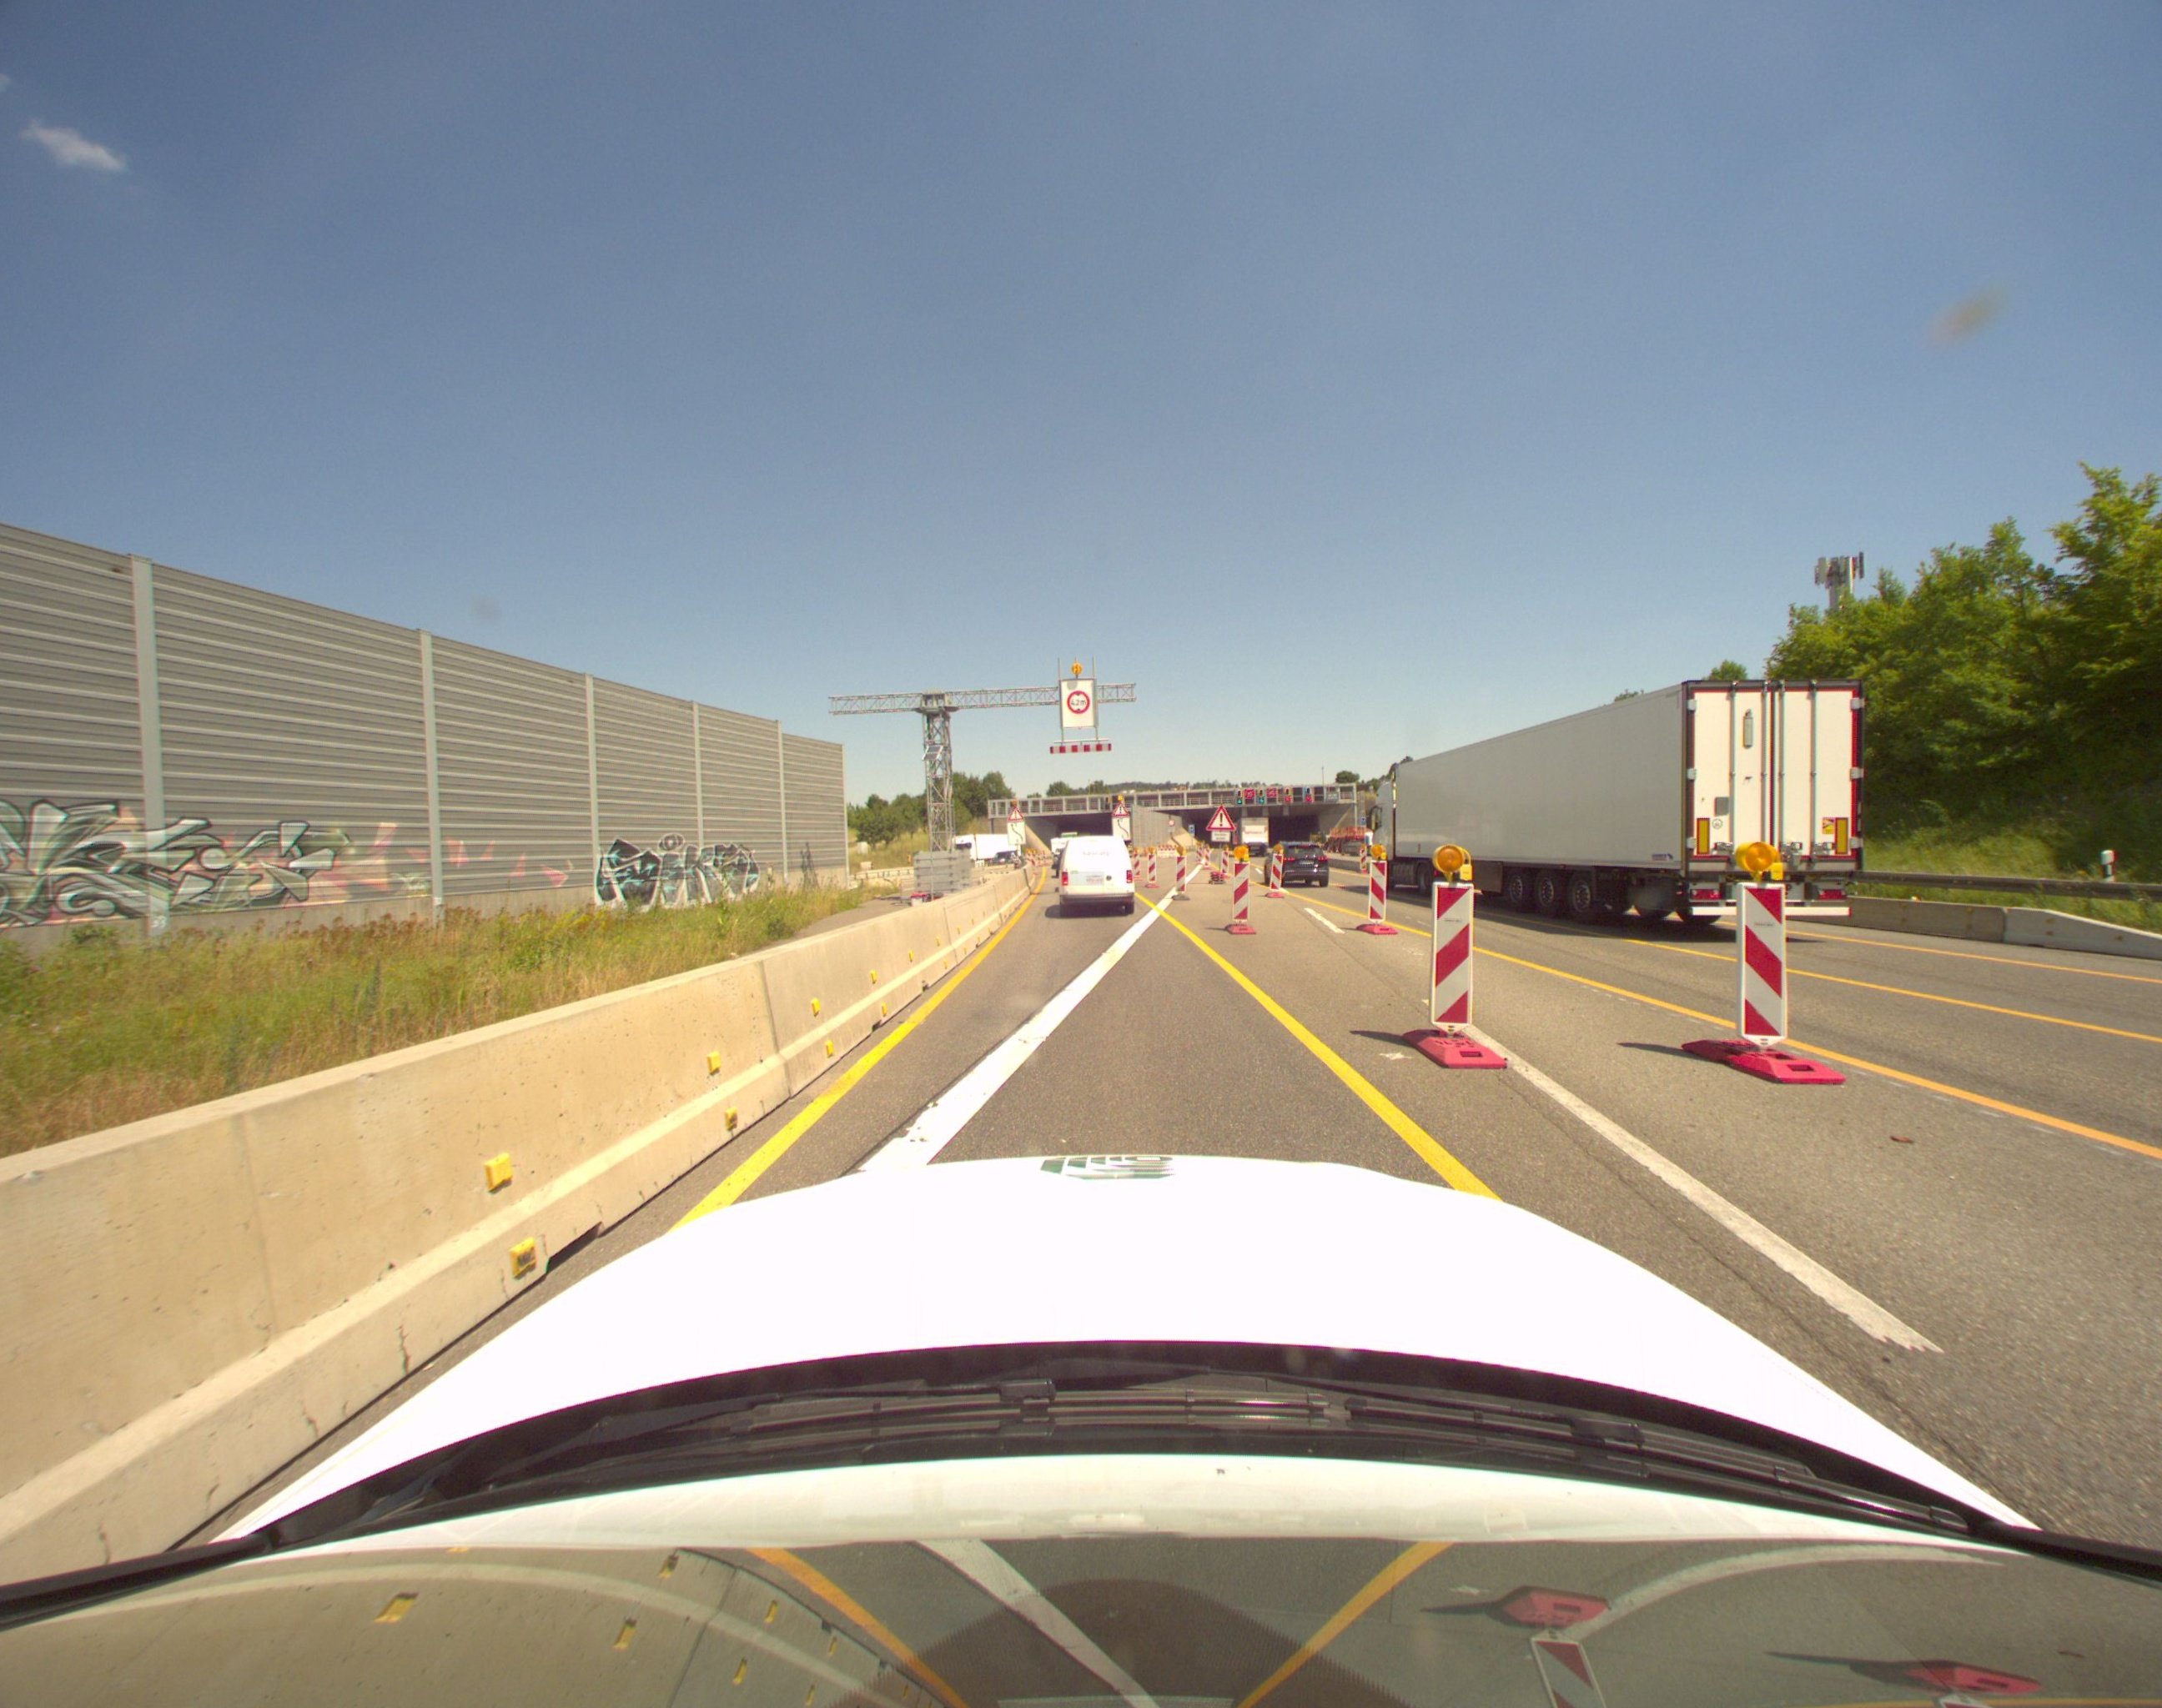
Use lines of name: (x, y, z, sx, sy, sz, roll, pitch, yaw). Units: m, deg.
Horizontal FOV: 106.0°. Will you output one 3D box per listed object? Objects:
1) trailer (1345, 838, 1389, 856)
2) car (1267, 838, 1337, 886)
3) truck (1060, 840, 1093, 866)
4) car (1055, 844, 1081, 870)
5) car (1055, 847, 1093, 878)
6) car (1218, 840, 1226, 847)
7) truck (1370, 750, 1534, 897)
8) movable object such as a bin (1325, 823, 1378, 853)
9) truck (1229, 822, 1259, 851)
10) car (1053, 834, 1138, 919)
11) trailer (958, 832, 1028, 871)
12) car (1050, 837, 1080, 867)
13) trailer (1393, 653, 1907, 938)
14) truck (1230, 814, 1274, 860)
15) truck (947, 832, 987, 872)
trailer: (28.268, -0.736, 80.733, 2.583, 1.568, 6.243, -3, 0, 4)
car: (8.135, 0.273, 30.337, 1.806, 1.630, 4.196, -1, 0, 5)
truck: (-0.758, -0.183, 134.660, 3.516, 4.270, 5.809, -1, 0, 21)
car: (-1.018, 0.193, 61.052, 1.804, 1.815, 4.407, -3, 0, -2)
car: (-0.426, 0.432, 44.328, 1.804, 1.537, 4.405, -3, 0, -3)
car: (34.692, -2.615, 200.323, 1.805, 1.630, 4.199, -1, 0, 8)
truck: (11.289, -0.851, 25.460, 2.733, 4.033, 5.932, -1, 0, 4)
movable object such as a bin: (31.305, -1.782, 95.110, 3.094, 3.010, 14.734, -3, 0, 8)
truck: (24.690, -2.568, 124.079, 3.382, 4.071, 16.574, -1, 0, 8)
car: (0.299, 0.484, 19.943, 1.803, 1.794, 3.729, -3, 0, -1)
trailer: (-10.799, -0.390, 102.388, 2.643, 4.500, 15.001, -1, 1, 18)
car: (-1.500, -0.155, 79.210, 2.805, 2.773, 7.099, -1, 0, 0)
trailer: (10.872, -0.855, 18.756, 2.721, 4.062, 14.108, -1, 0, 3)
truck: (17.752, -1.556, 85.645, 3.382, 4.335, 16.573, 0, 0, 8)
truck: (-13.219, -0.286, 95.036, 2.643, 4.500, 4.866, -1, 0, 18)
